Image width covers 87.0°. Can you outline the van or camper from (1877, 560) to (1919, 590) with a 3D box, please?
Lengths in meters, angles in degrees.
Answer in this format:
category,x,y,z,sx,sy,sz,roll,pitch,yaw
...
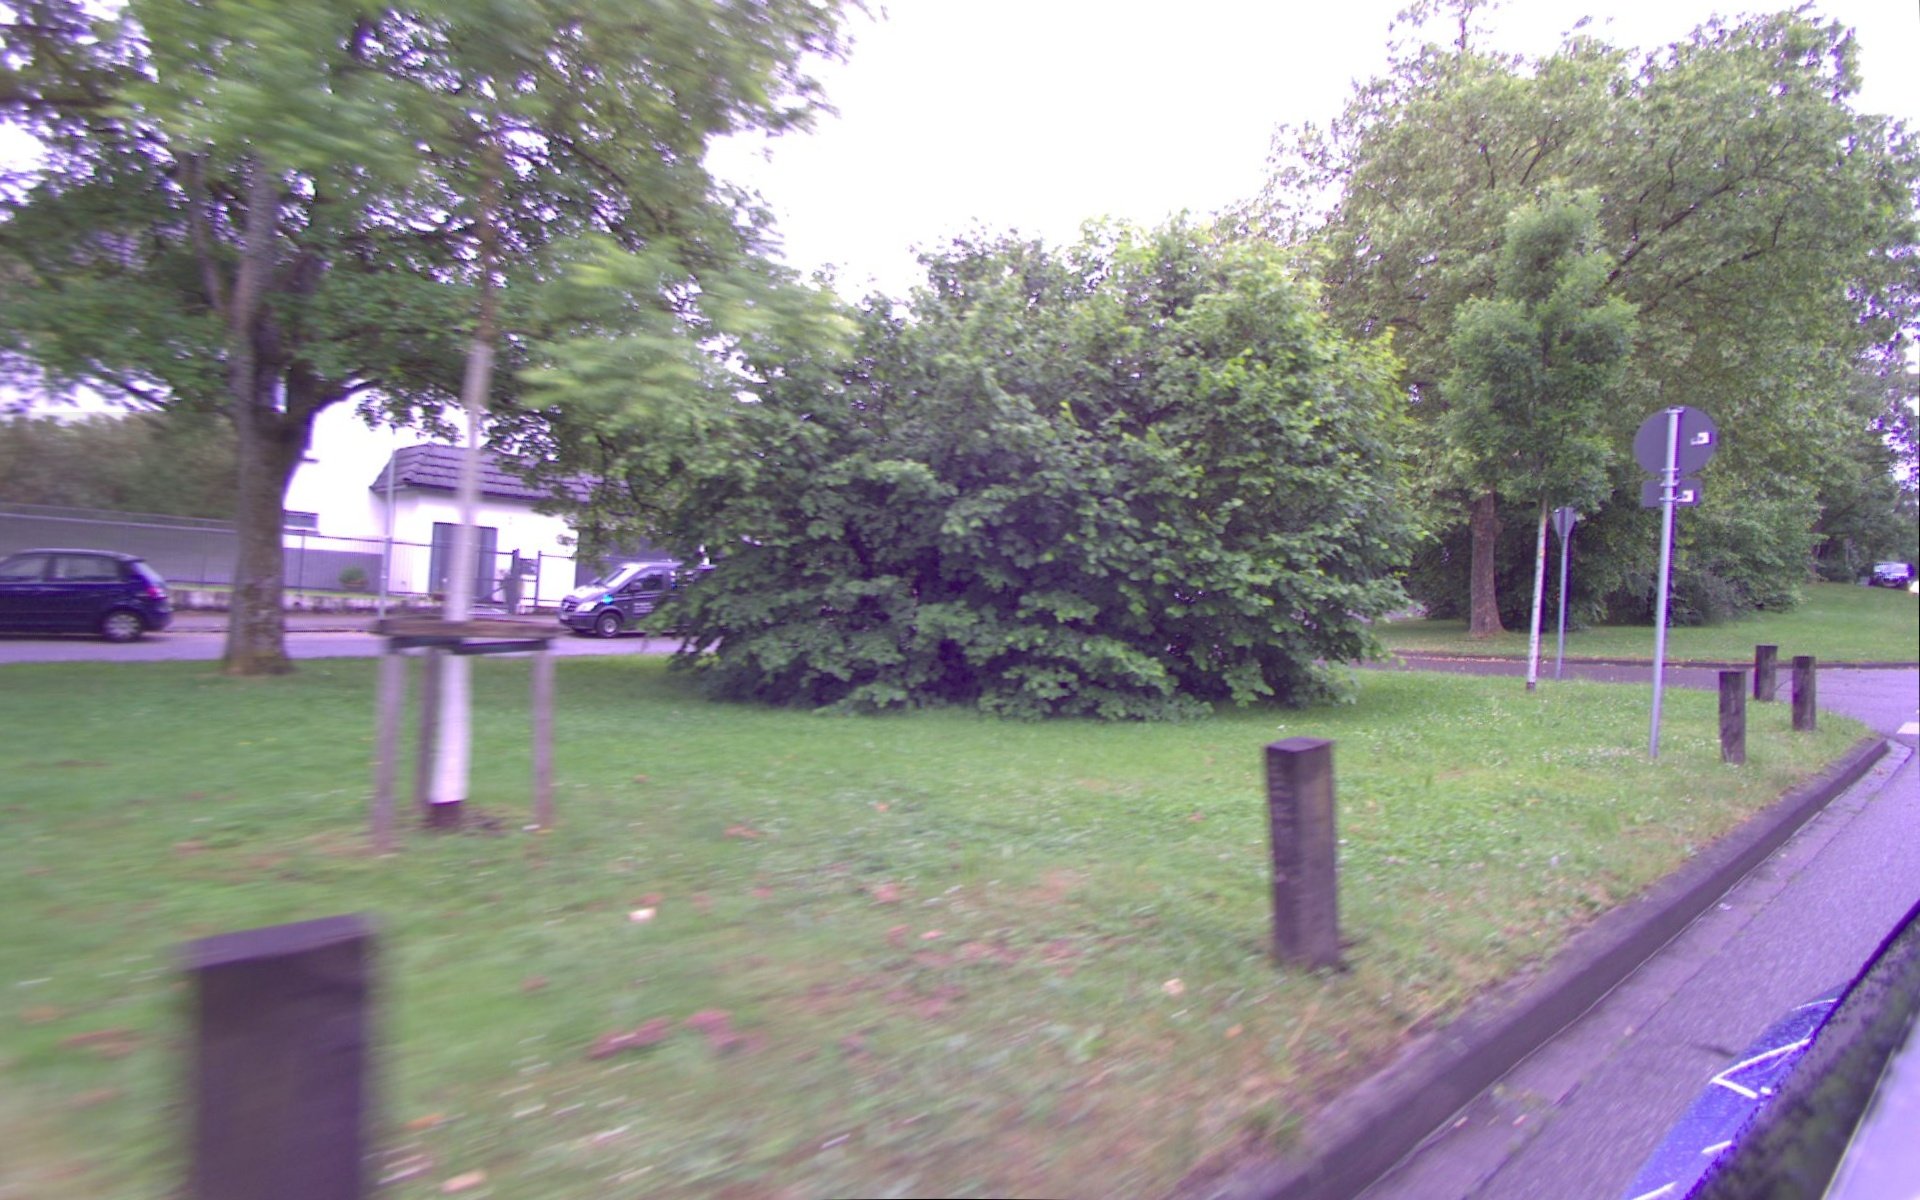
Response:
category,x,y,z,sx,sy,sz,roll,pitch,yaw
van or camper,63.644,-1.695,68.652,1.993,1.891,5.579,4,4,42

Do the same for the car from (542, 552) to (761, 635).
category,x,y,z,sx,sy,sz,roll,pitch,yaw
car,-7.917,-0.187,26.294,4.985,1.902,2.162,0,3,-43

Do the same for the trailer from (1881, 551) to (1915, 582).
category,x,y,z,sx,sy,sz,roll,pitch,yaw
trailer,66.925,-2.408,72.253,1.696,2.079,3.892,3,3,42

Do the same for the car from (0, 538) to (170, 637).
category,x,y,z,sx,sy,sz,roll,pitch,yaw
car,-16.590,-0.244,17.890,3.967,1.644,1.904,0,3,-43
